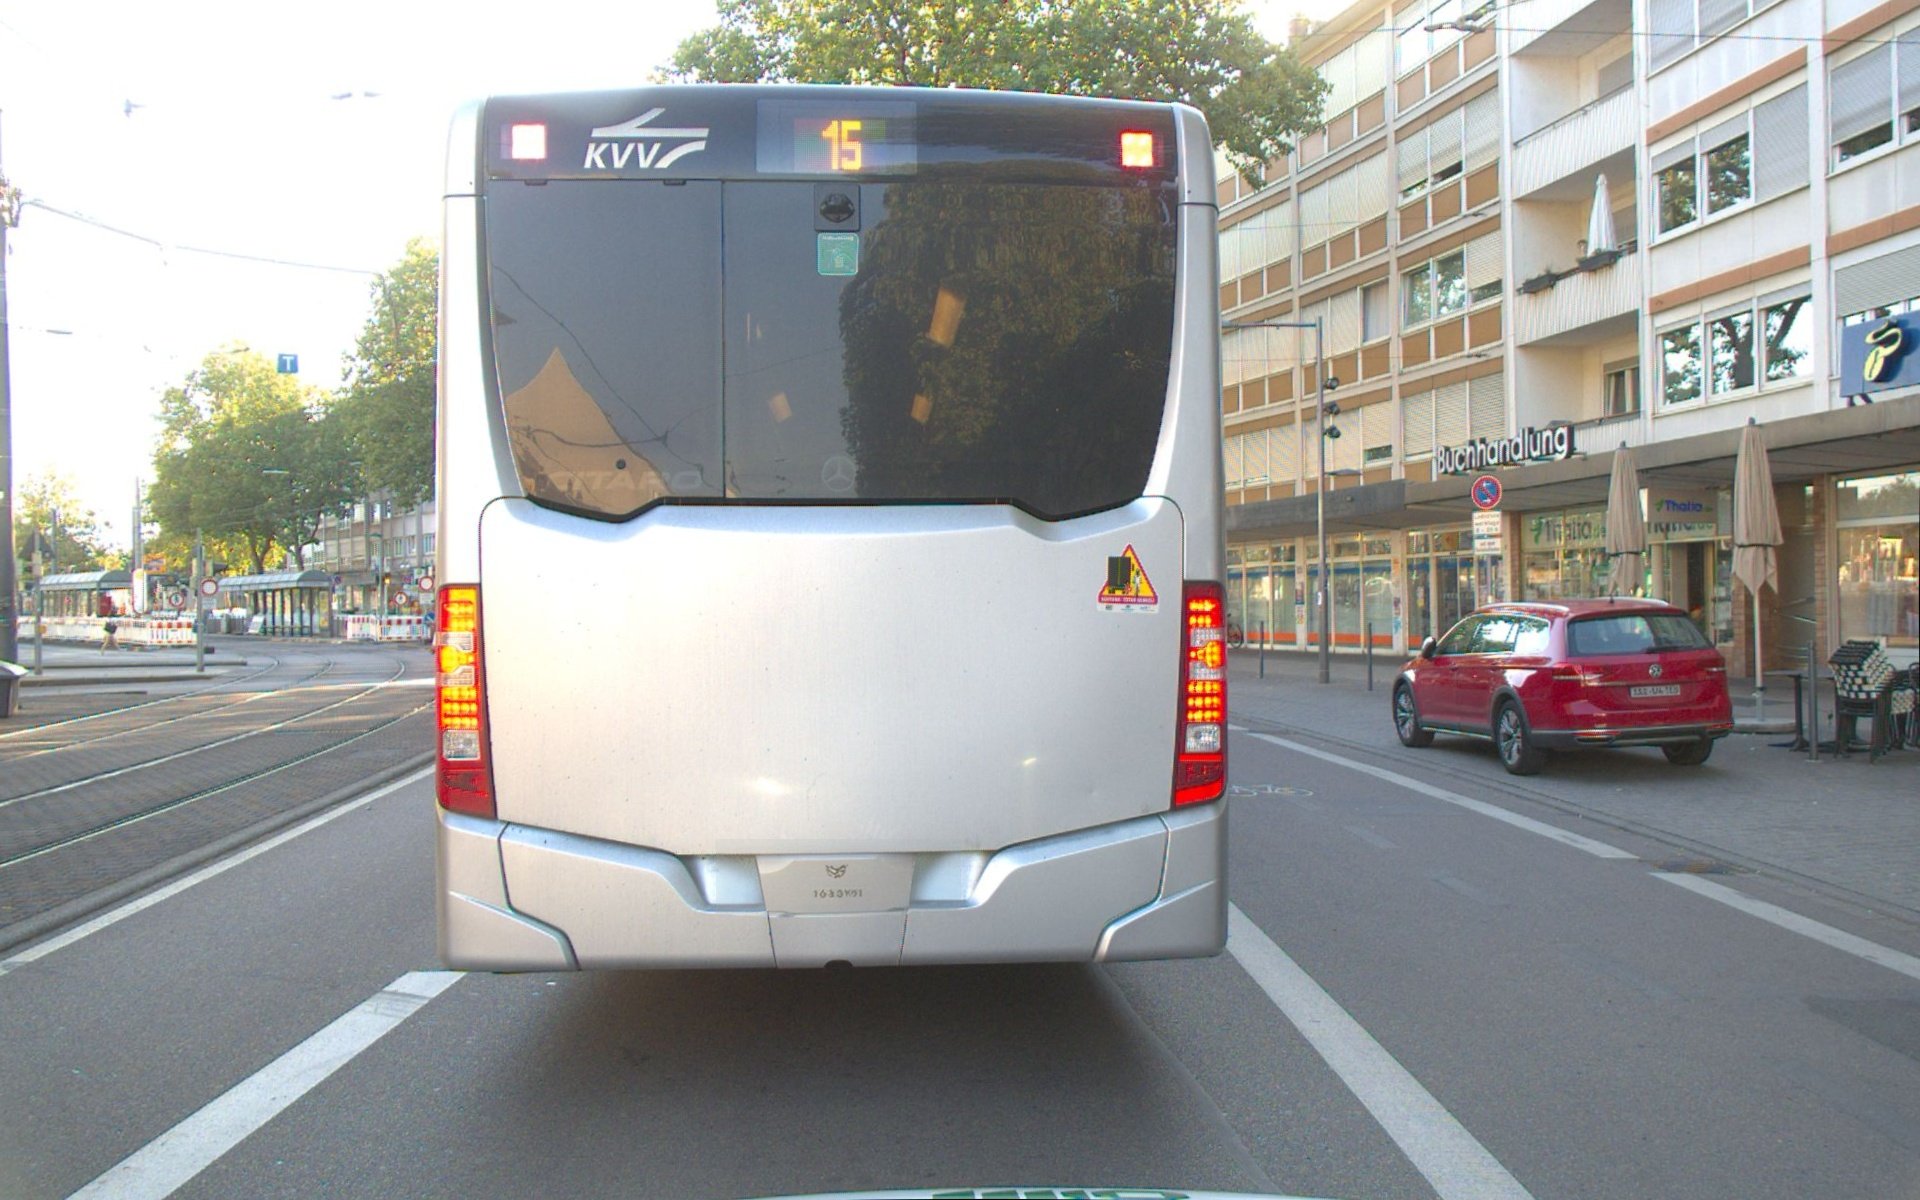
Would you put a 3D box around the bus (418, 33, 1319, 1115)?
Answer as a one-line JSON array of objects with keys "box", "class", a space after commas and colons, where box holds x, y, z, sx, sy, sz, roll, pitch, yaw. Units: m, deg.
[{"box": [-0.459, -0.059, 9.769, 2.578, 3.081, 9.992, 0, 0, -3], "class": "bus"}]

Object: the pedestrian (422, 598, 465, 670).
[{"box": [-12.820, 0.843, 41.038, 0.878, 1.758, 0.517, -1, 0, 1], "class": "pedestrian"}]

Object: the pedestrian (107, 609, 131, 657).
[{"box": [-29.882, 1.152, 58.773, 0.653, 1.685, 0.436, -1, -1, -44], "class": "pedestrian"}]

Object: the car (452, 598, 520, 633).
[{"box": [-25.210, 0.814, 87.876, 1.982, 1.823, 3.940, 1, -1, -41], "class": "car"}]

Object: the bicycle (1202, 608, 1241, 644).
[{"box": [7.216, 0.715, 45.688, 0.406, 0.961, 1.431, -1, 0, -20], "class": "bicycle"}]

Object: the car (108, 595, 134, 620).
[{"box": [-71.805, 0.645, 141.520, 1.604, 2.049, 3.075, -1, 0, -34], "class": "car"}]

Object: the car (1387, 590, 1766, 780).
[{"box": [5.706, 0.706, 15.938, 1.735, 1.508, 4.299, -2, 0, -4], "class": "car"}]

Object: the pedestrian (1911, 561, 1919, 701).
[{"box": [11.411, 0.346, 18.801, 0.637, 1.620, 0.788, -3, 0, -6], "class": "pedestrian"}]
